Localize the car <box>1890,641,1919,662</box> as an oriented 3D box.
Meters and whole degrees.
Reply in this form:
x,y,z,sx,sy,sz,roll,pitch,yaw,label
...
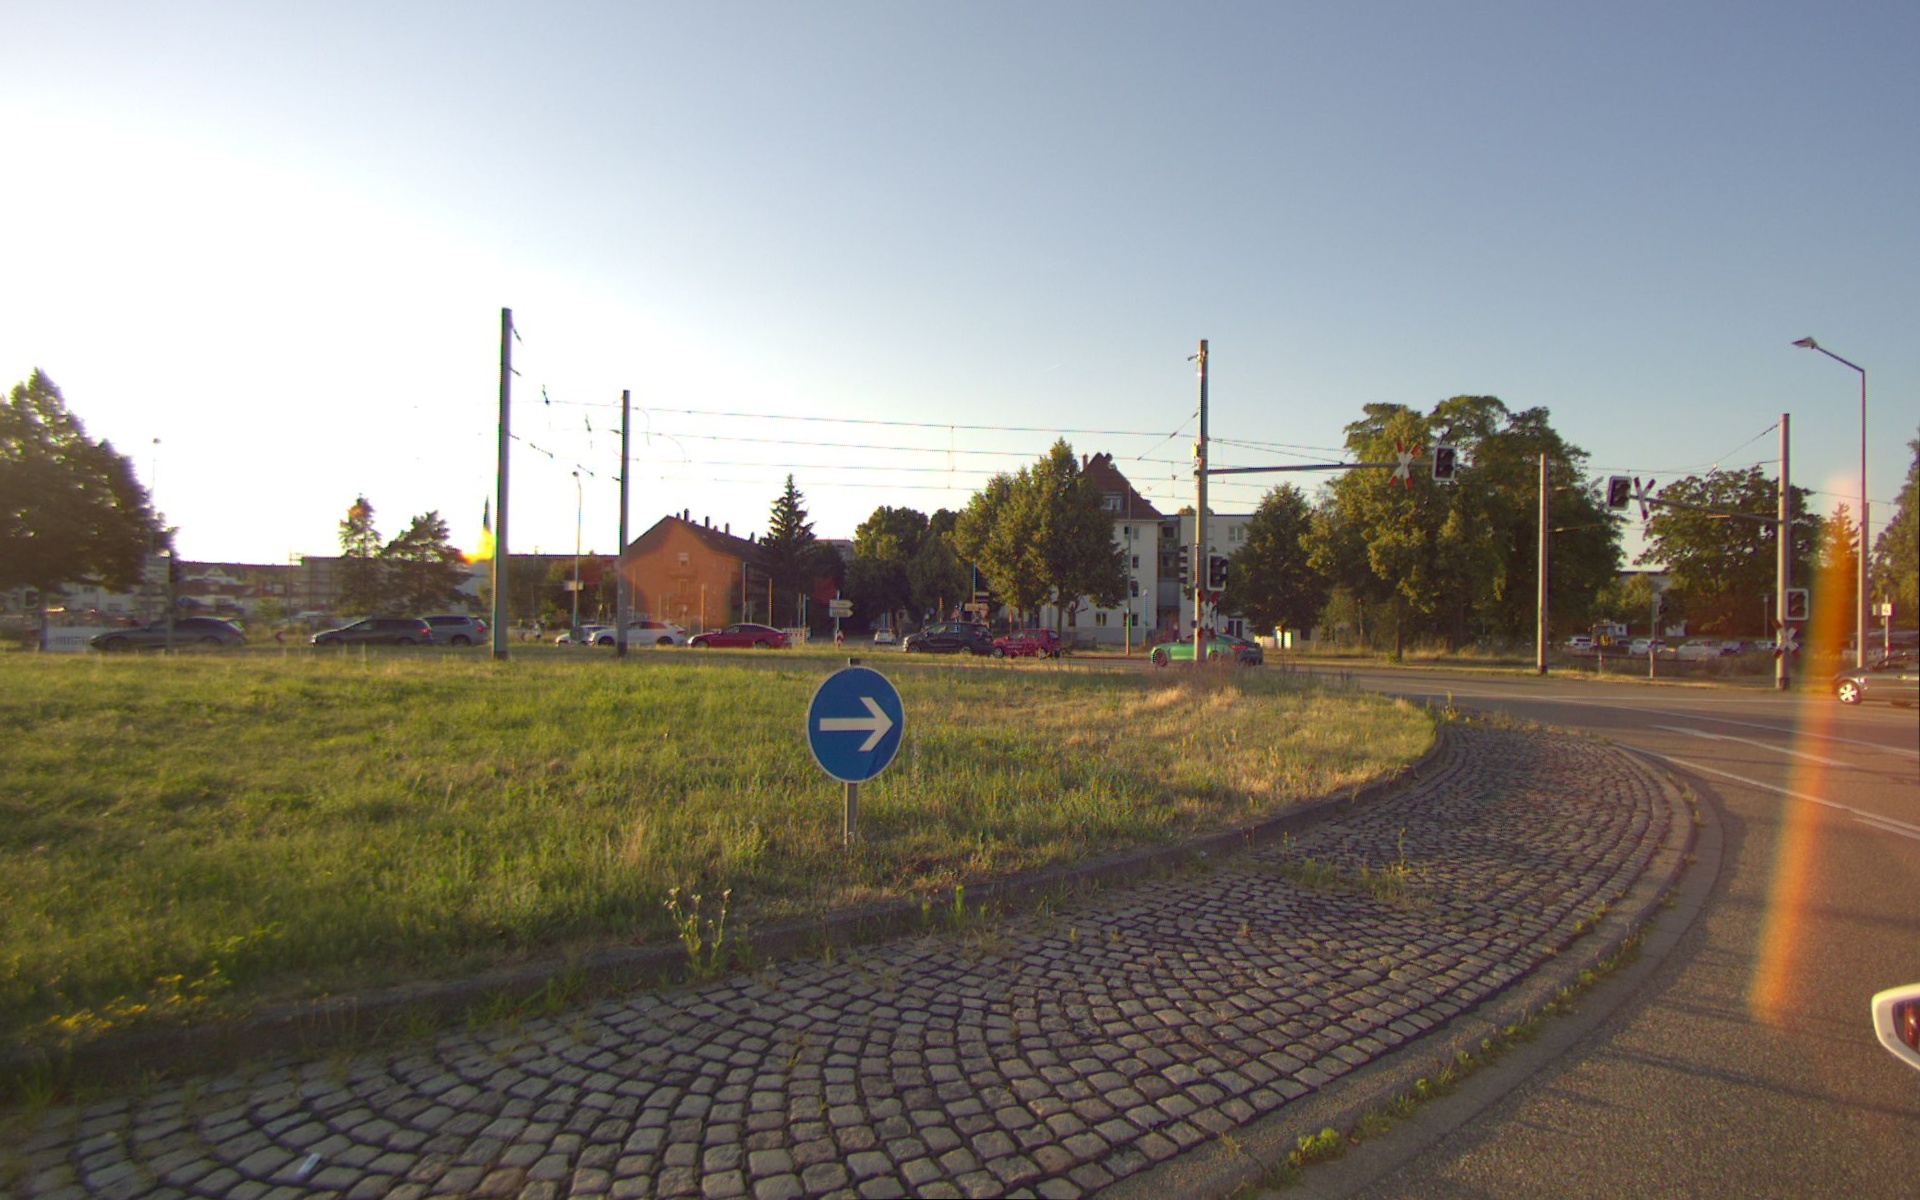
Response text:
x,y,z,sx,sy,sz,roll,pitch,yaw,label
76.323,4.081,79.484,1.960,1.625,4.002,1,-1,3,car

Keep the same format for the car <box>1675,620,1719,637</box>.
x,y,z,sx,sy,sz,roll,pitch,yaw,label
93.171,3.581,127.042,4.033,2.040,2.001,1,-1,4,car

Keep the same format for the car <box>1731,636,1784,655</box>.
x,y,z,sx,sy,sz,roll,pitch,yaw,label
77.316,4.411,97.424,3.938,1.684,1.894,0,-1,39,car

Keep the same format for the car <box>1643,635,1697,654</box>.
x,y,z,sx,sy,sz,roll,pitch,yaw,label
69.179,4.322,97.940,3.919,1.684,1.904,1,-1,5,car

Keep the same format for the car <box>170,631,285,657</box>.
x,y,z,sx,sy,sz,roll,pitch,yaw,label
-33.551,2.028,46.136,3.944,1.119,1.680,1,-1,-24,car

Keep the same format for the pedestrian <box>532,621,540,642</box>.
x,y,z,sx,sy,sz,roll,pitch,yaw,label
-27.115,2.036,64.212,0.392,1.325,0.426,1,-1,-30,pedestrian

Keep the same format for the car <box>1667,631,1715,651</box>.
x,y,z,sx,sy,sz,roll,pitch,yaw,label
75.632,4.216,103.944,3.934,2.040,1.994,0,-1,35,car

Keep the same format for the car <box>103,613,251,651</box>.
x,y,z,sx,sy,sz,roll,pitch,yaw,label
-30.690,1.254,39.565,4.299,1.394,1.985,1,-1,-29,car

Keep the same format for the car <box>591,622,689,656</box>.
x,y,z,sx,sy,sz,roll,pitch,yaw,label
-16.802,2.039,52.946,4.628,1.728,1.998,1,-1,-7,car

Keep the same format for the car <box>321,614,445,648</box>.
x,y,z,sx,sy,sz,roll,pitch,yaw,label
-24.326,1.313,42.567,4.323,1.394,1.989,1,-1,-24,car

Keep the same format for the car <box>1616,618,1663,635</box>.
x,y,z,sx,sy,sz,roll,pitch,yaw,label
86.220,3.374,127.450,4.505,2.040,2.001,1,-1,5,car

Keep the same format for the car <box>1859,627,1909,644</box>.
x,y,z,sx,sy,sz,roll,pitch,yaw,label
107.999,4.119,117.461,3.919,1.840,2.001,1,-1,5,car

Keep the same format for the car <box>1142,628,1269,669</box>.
x,y,z,sx,sy,sz,roll,pitch,yaw,label
9.426,1.831,38.934,1.979,1.389,4.691,1,-1,-34,car

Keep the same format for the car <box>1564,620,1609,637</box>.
x,y,z,sx,sy,sz,roll,pitch,yaw,label
79.545,3.643,127.633,4.507,2.040,2.000,1,-1,0,car

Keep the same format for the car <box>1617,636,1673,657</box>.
x,y,z,sx,sy,sz,roll,pitch,yaw,label
54.727,3.695,80.344,1.960,1.625,4.002,1,-1,3,car

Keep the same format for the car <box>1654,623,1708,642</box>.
x,y,z,sx,sy,sz,roll,pitch,yaw,label
80.196,3.638,111.750,4.507,2.040,2.000,1,-1,0,car

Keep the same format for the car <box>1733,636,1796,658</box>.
x,y,z,sx,sy,sz,roll,pitch,yaw,label
63.986,3.709,79.939,1.960,1.625,4.002,1,-1,3,car

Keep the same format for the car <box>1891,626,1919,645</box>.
x,y,z,sx,sy,sz,roll,pitch,yaw,label
107.420,4.019,112.609,3.919,2.040,2.001,1,-1,11,car

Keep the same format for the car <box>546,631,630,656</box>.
x,y,z,sx,sy,sz,roll,pitch,yaw,label
-21.782,2.522,58.999,2.071,1.385,4.462,0,-1,26,car

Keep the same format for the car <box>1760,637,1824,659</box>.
x,y,z,sx,sy,sz,roll,pitch,yaw,label
66.339,3.782,80.178,1.960,1.625,4.002,1,-1,3,car

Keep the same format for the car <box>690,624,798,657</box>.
x,y,z,sx,sy,sz,roll,pitch,yaw,label
-9.745,1.820,45.464,4.406,1.410,1.896,1,-1,4,car

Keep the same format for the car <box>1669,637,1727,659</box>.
x,y,z,sx,sy,sz,roll,pitch,yaw,label
59.486,3.843,81.045,1.960,1.625,4.002,1,-1,3,car

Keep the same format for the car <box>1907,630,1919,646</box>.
x,y,z,sx,sy,sz,roll,pitch,yaw,label
105.552,4.103,108.732,1.971,1.728,3.979,1,-1,-22,car

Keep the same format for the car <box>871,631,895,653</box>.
x,y,z,sx,sy,sz,roll,pitch,yaw,label
-6.988,3.796,91.272,1.961,1.840,3.999,1,-1,-2,car

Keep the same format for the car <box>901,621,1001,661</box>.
x,y,z,sx,sy,sz,roll,pitch,yaw,label
-0.393,1.716,43.261,3.929,1.605,1.892,0,-1,30,car

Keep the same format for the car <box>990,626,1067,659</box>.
x,y,z,sx,sy,sz,roll,pitch,yaw,label
3.357,2.068,49.391,3.428,1.519,1.640,0,-1,30,car

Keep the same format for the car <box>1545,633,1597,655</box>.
x,y,z,sx,sy,sz,roll,pitch,yaw,label
49.385,3.538,81.235,1.960,1.625,4.002,1,-1,3,car

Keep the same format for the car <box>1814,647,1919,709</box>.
x,y,z,sx,sy,sz,roll,pitch,yaw,label
23.359,1.896,24.402,1.662,1.372,3.998,0,-1,-5,car

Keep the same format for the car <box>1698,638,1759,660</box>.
x,y,z,sx,sy,sz,roll,pitch,yaw,label
61.605,3.905,80.568,1.960,1.625,4.002,1,-1,3,car

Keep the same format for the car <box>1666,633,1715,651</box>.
x,y,z,sx,sy,sz,roll,pitch,yaw,label
73.130,4.180,100.584,3.934,1.684,1.994,0,-1,35,car

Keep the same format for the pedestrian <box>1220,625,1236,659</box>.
x,y,z,sx,sy,sz,roll,pitch,yaw,label
15.696,2.456,58.847,0.614,1.918,0.662,2,0,-35,pedestrian

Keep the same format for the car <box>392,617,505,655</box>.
x,y,z,sx,sy,sz,roll,pitch,yaw,label
-24.258,1.713,47.831,4.560,1.759,1.887,1,-1,-21,car
